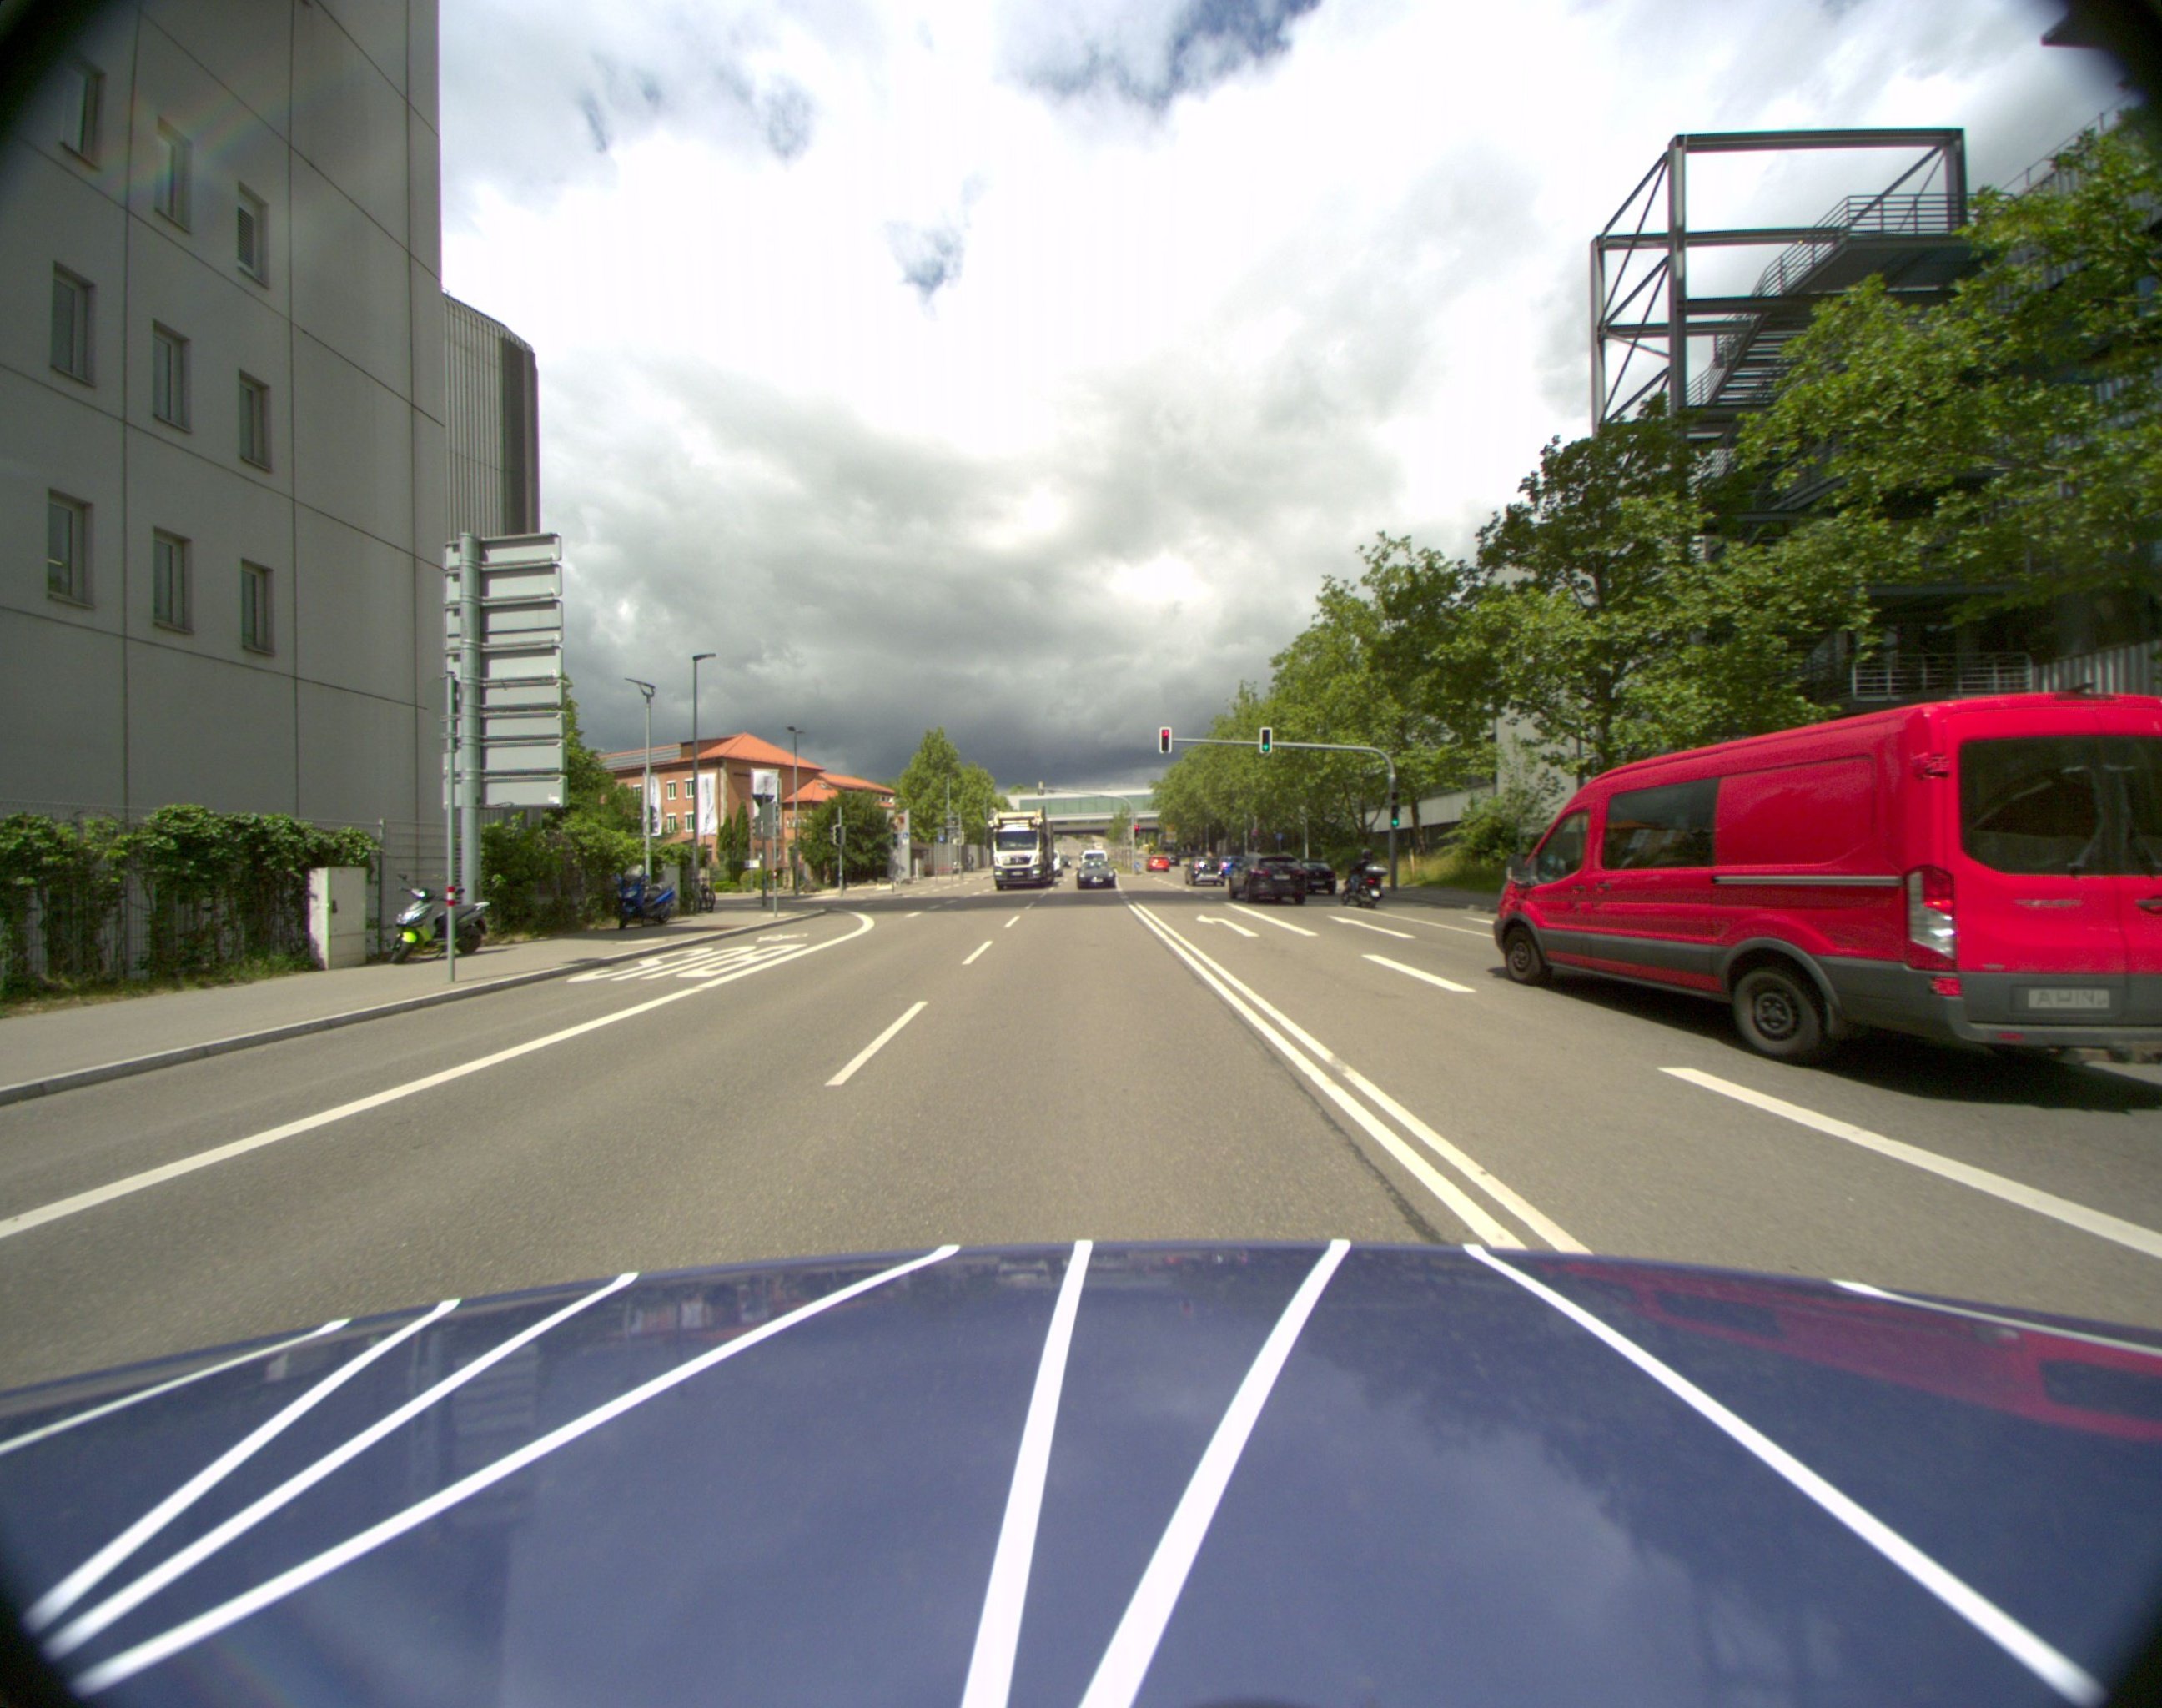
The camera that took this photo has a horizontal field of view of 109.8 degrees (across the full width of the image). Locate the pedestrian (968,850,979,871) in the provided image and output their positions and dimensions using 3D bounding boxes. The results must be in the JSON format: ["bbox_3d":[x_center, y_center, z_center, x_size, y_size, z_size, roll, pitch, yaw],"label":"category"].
[{"bbox_3d":[-9.484,0.545,66.773,0.729,1.756,1.015,-2,1,1],"label":"pedestrian"}]

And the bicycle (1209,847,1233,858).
[{"bbox_3d":[15.840,-0.166,86.012,2.562,1.171,0.615,-2,1,2],"label":"bicycle"}]

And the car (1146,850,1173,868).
[{"bbox_3d":[6.593,0.413,63.988,1.889,1.446,3.902,1,1,0],"label":"car"}]

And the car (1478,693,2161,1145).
[{"bbox_3d":[6.040,0.359,6.921,2.068,2.492,5.480,0,0,1],"label":"car"}]

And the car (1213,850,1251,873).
[{"bbox_3d":[9.870,0.495,49.946,1.697,1.421,3.822,0,0,0],"label":"car"}]

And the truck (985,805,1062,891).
[{"bbox_3d":[-2.803,-0.330,40.411,2.712,3.863,10.741,-2,1,2],"label":"truck"}]

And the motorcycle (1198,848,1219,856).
[{"bbox_3d":[17.959,-0.233,107.152,2.830,1.029,0.600,-2,-2,4],"label":"motorcycle"}]

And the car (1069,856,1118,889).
[{"bbox_3d":[0.612,0.791,34.466,1.838,1.317,4.002,-3,-1,5],"label":"car"}]

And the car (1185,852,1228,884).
[{"bbox_3d":[6.218,0.665,38.047,1.562,1.496,3.613,1,0,1],"label":"car"}]

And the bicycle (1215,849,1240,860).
[{"bbox_3d":[15.961,0.008,82.875,2.561,1.079,0.616,-2,1,7],"label":"bicycle"}]

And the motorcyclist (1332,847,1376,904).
[{"bbox_3d":[8.029,0.625,22.381,0.735,1.613,1.094,-2,1,-11],"label":"motorcyclist"}]

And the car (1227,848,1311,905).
[{"bbox_3d":[6.052,0.652,24.896,1.740,1.674,4.213,-1,1,0],"label":"car"}]

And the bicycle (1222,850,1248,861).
[{"bbox_3d":[15.851,0.141,78.315,2.564,1.079,0.615,-2,1,-7],"label":"bicycle"}]

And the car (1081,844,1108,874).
[{"bbox_3d":[0.982,0.370,54.064,1.824,2.001,4.392,-1,-1,1],"label":"car"}]

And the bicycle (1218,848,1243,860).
[{"bbox_3d":[15.907,0.005,80.979,2.561,1.079,0.628,-2,1,4],"label":"bicycle"}]

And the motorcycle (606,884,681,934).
[{"bbox_3d":[-10.470,1.291,18.265,0.592,1.061,2.037,1,0,1],"label":"motorcycle"}]

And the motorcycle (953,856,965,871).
[{"bbox_3d":[-10.052,0.789,62.573,0.570,1.219,2.175,0,1,1],"label":"motorcycle"}]

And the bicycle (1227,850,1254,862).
[{"bbox_3d":[15.796,0.174,75.194,2.561,1.079,0.616,-2,1,7],"label":"bicycle"}]

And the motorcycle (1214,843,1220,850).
[{"bbox_3d":[20.199,-1.104,112.691,0.599,1.029,2.591,-2,-2,4],"label":"motorcycle"}]

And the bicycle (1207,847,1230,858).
[{"bbox_3d":[15.838,-0.164,87.615,2.562,1.171,0.615,-2,1,2],"label":"bicycle"}]

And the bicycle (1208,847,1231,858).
[{"bbox_3d":[15.818,-0.179,86.867,2.562,1.171,0.615,-2,1,2],"label":"bicycle"}]

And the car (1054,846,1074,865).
[{"bbox_3d":[-1.906,0.120,84.679,1.871,1.944,4.711,-3,1,2],"label":"car"}]

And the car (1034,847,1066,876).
[{"bbox_3d":[-2.245,0.521,55.918,1.871,1.944,4.711,-3,1,2],"label":"car"}]

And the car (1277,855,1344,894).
[{"bbox_3d":[9.297,0.795,31.060,1.580,1.420,3.919,1,0,0],"label":"car"}]

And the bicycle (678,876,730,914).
[{"bbox_3d":[-11.428,1.220,23.007,1.964,1.121,0.547,-1,-1,36],"label":"bicycle"}]

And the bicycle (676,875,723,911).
[{"bbox_3d":[-12.382,1.255,24.647,1.881,1.121,0.547,-1,-1,36],"label":"bicycle"}]

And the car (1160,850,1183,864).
[{"bbox_3d":[10.090,0.307,85.102,1.999,1.446,4.768,1,1,0],"label":"car"}]

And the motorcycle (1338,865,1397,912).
[{"bbox_3d":[8.222,0.956,21.904,0.676,1.212,2.375,-2,1,-3],"label":"motorcycle"}]

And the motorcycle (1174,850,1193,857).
[{"bbox_3d":[15.369,-0.055,113.869,2.830,1.029,0.600,-2,-2,4],"label":"motorcycle"}]

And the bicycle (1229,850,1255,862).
[{"bbox_3d":[16.130,0.168,76.130,2.560,1.079,0.616,-2,1,8],"label":"bicycle"}]

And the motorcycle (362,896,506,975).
[{"bbox_3d":[-10.542,1.289,12.487,0.592,1.061,2.037,0,0,1],"label":"motorcycle"}]
